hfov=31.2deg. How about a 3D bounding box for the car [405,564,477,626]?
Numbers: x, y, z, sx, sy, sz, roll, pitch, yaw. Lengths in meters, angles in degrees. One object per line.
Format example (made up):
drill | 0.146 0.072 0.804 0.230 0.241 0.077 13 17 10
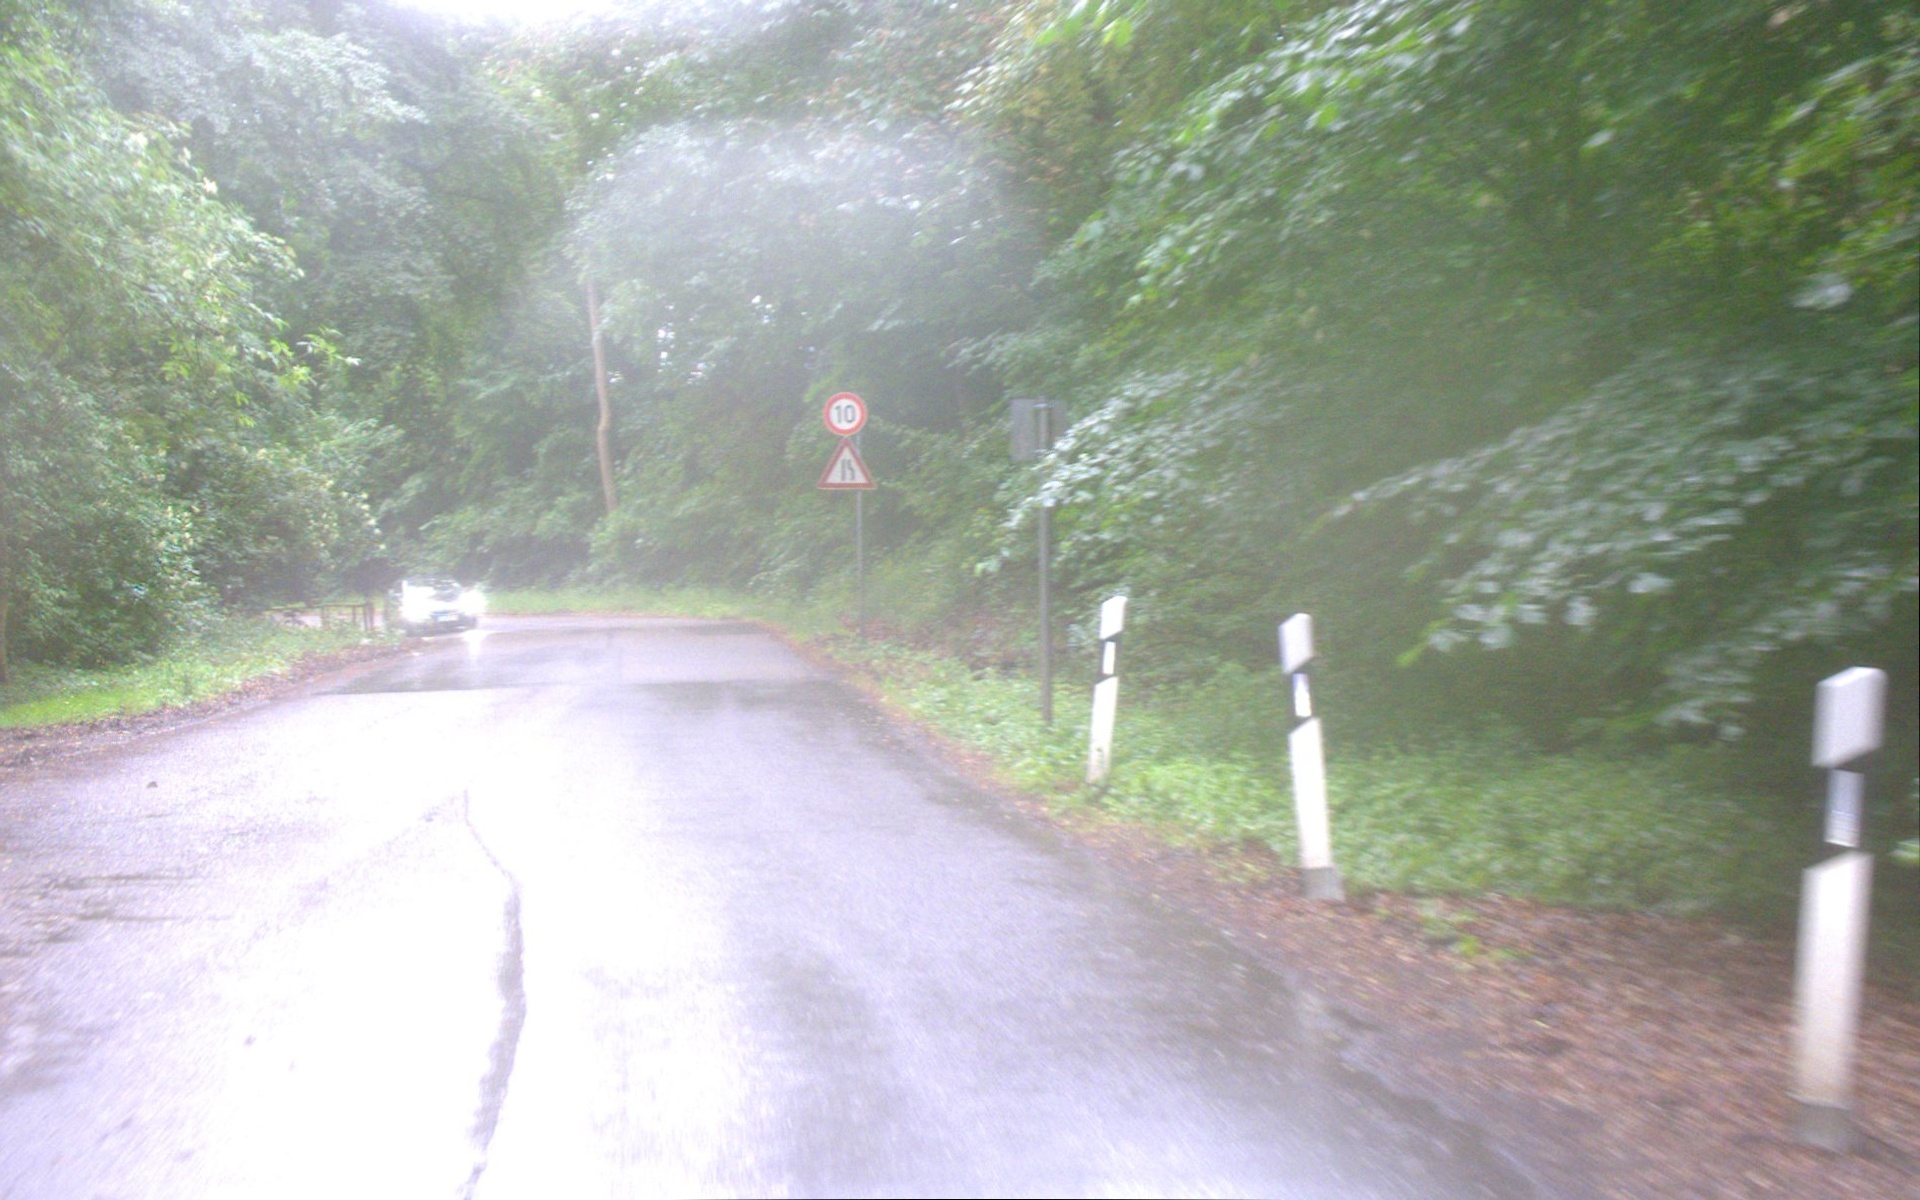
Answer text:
car | -13.079 -0.134 86.573 1.713 1.470 3.891 -2 1 -9
